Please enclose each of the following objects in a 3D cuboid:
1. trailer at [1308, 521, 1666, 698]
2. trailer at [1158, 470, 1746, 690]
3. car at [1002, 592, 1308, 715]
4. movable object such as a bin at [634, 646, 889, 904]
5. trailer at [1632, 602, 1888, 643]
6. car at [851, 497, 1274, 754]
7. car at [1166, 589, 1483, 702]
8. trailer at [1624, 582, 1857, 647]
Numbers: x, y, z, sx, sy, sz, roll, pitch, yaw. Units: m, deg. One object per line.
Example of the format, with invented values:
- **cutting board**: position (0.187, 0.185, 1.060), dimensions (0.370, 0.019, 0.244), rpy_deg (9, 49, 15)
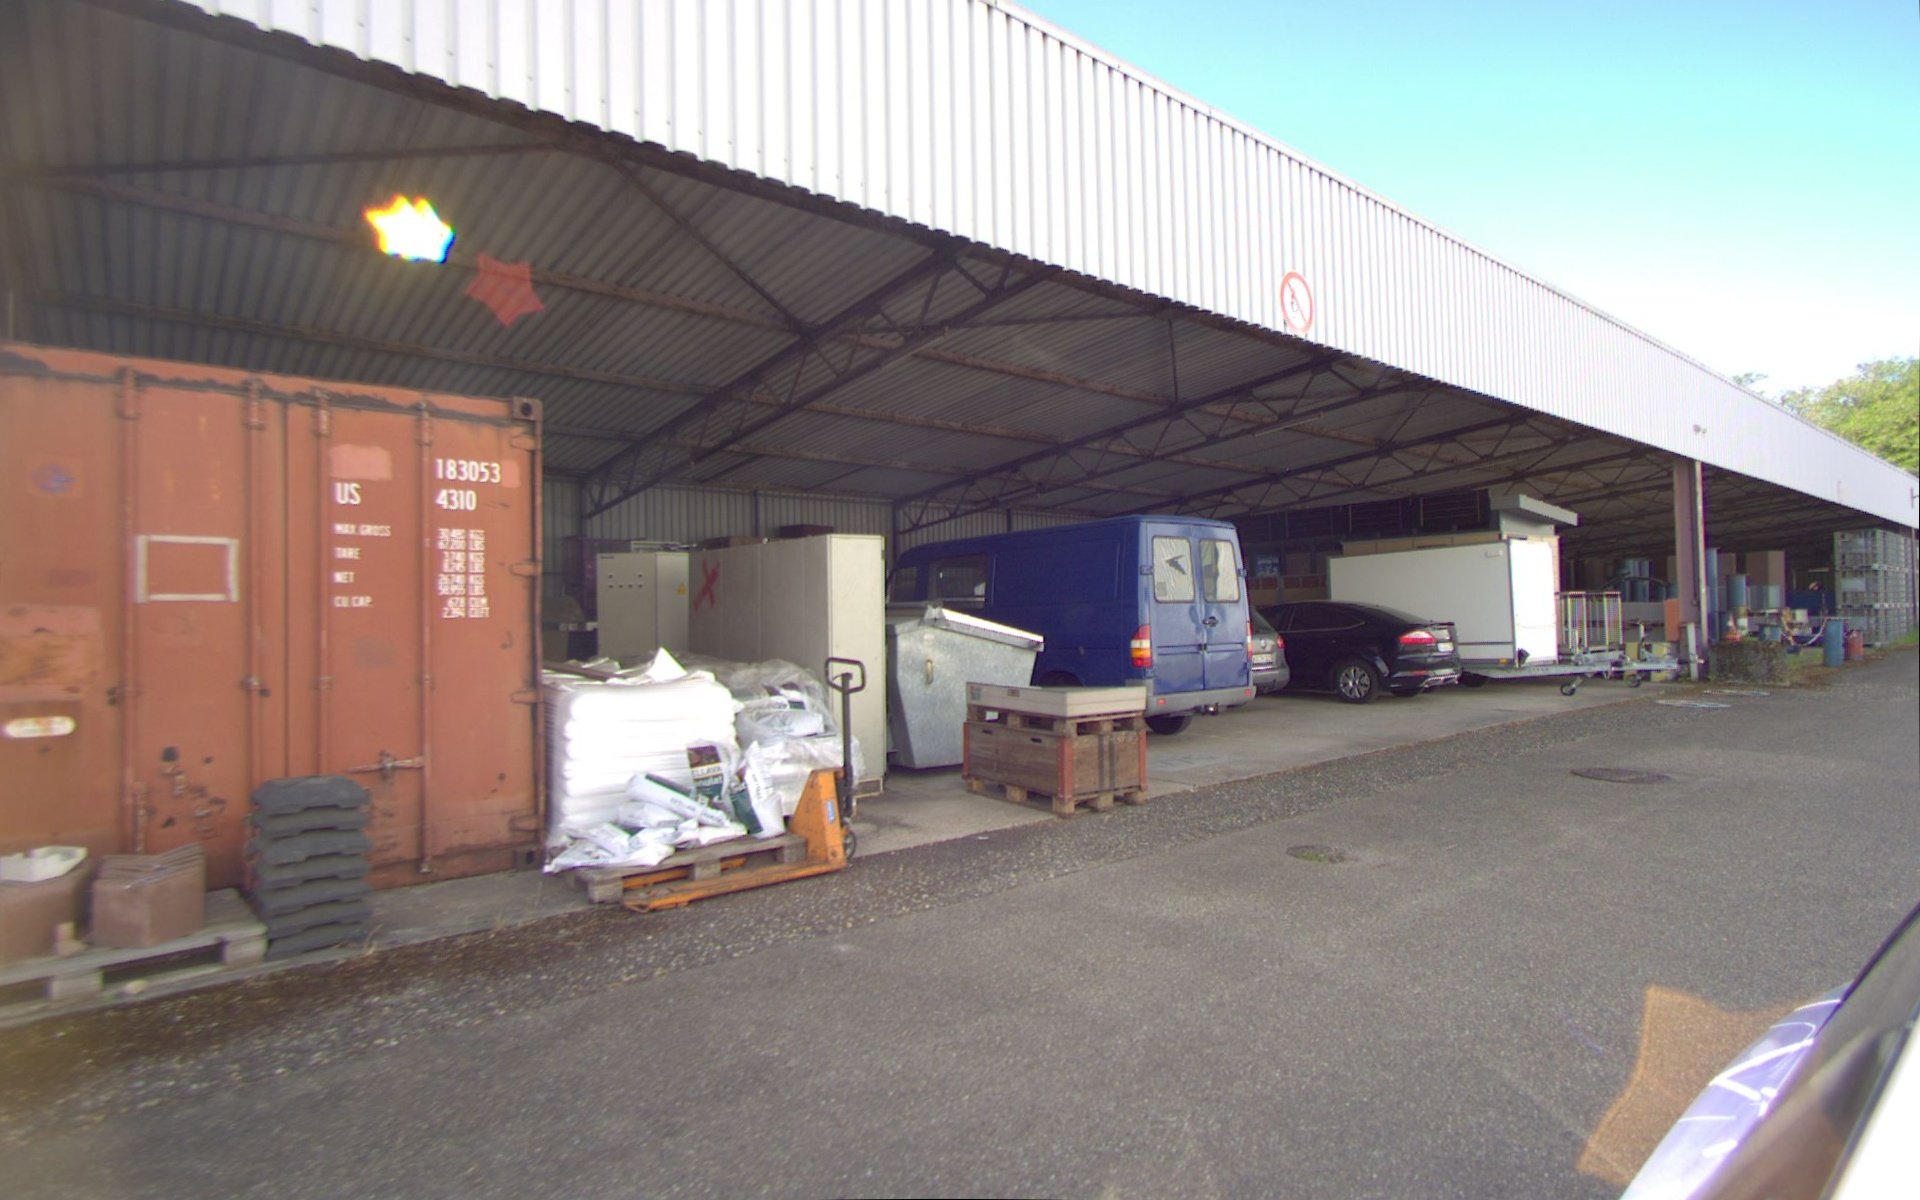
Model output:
- **trailer**: position (8.280, 0.156, 16.405), dimensions (1.792, 2.422, 4.827), rpy_deg (0, -1, -35)
- **trailer**: position (8.748, -0.238, 19.781), dimensions (2.803, 3.257, 10.056), rpy_deg (0, -1, -39)
- **car**: position (2.636, 0.676, 14.350), dimensions (1.759, 1.491, 3.989), rpy_deg (0, -1, -44)
- **movable object such as a bin**: position (-1.054, 0.865, 5.451), dimensions (1.215, 1.179, 0.583), rpy_deg (0, -1, -36)
- **trailer**: position (24.049, 0.653, 30.686), dimensions (1.993, 1.134, 5.832), rpy_deg (0, -1, -40)
- **car**: position (0.923, 0.272, 11.848), dimensions (1.964, 2.355, 4.988), rpy_deg (0, -1, -39)
- **car**: position (5.495, 0.633, 15.713), dimensions (1.747, 1.515, 4.334), rpy_deg (0, -1, -42)
- **trailer**: position (21.721, 0.397, 28.342), dimensions (1.994, 1.649, 4.875), rpy_deg (0, -1, -40)
